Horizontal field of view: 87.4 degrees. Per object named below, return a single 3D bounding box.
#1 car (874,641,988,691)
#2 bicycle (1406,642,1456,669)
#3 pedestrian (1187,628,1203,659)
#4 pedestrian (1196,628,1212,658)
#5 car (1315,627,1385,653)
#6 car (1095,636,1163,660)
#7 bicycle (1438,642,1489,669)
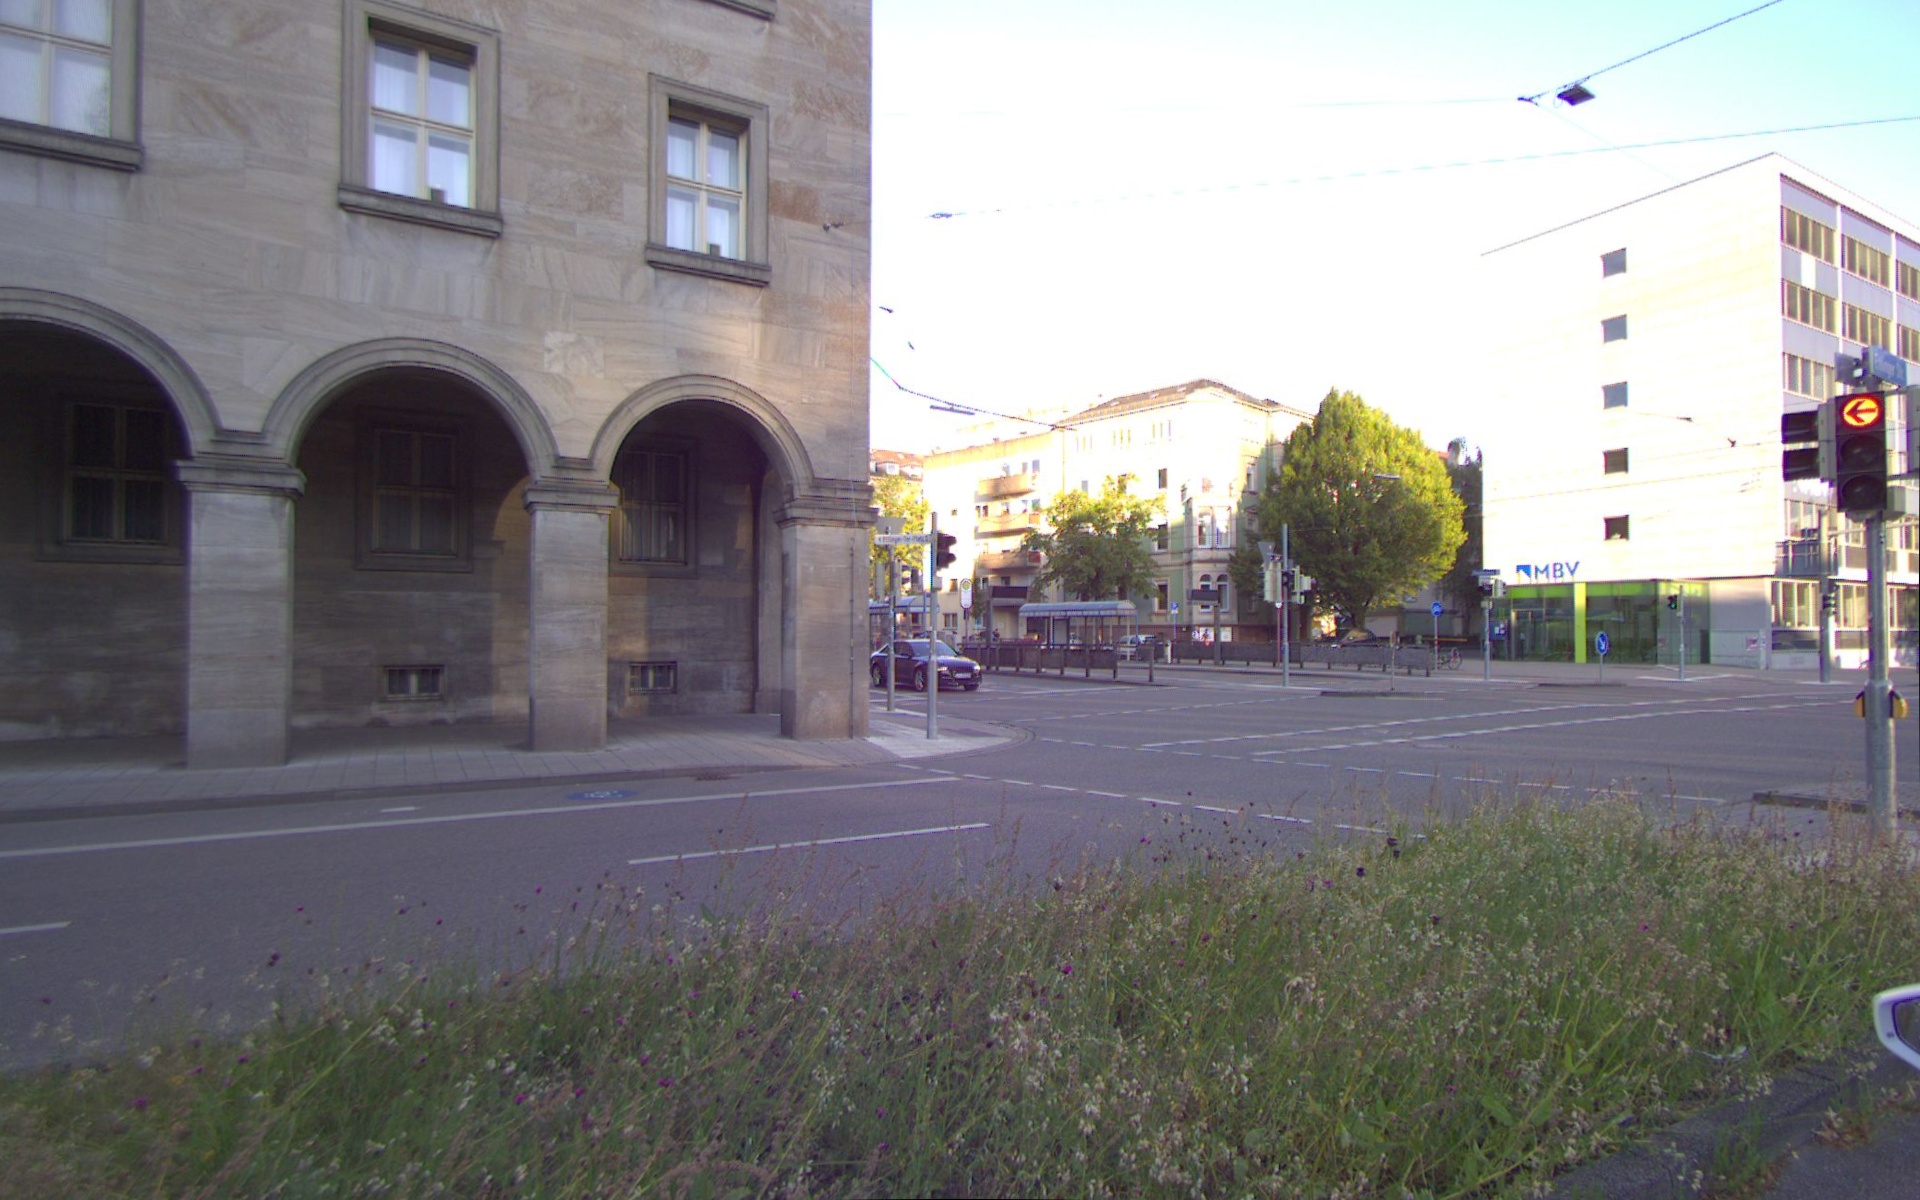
[{"bbox_3d":[-0.947,1.913,29.811,1.791,1.344,4.120,1,-2,-27],"label":"car"},{"bbox_3d":[20.989,2.461,44.739,2.183,1.127,0.834,1,-2,-26],"label":"bicycle"},{"bbox_3d":[14.123,2.610,60.347,0.718,1.813,0.634,2,-2,-44],"label":"pedestrian"},{"bbox_3d":[14.787,2.614,60.861,0.718,1.813,0.634,2,-2,-43],"label":"pedestrian"},{"bbox_3d":[21.582,2.219,55.546,3.553,1.390,1.826,1,-2,-32],"label":"car"},{"bbox_3d":[9.951,2.801,59.255,3.545,1.390,1.831,-2,-3,44],"label":"car"},{"bbox_3d":[21.792,2.401,43.472,2.183,1.127,0.834,1,-2,-26],"label":"bicycle"}]
